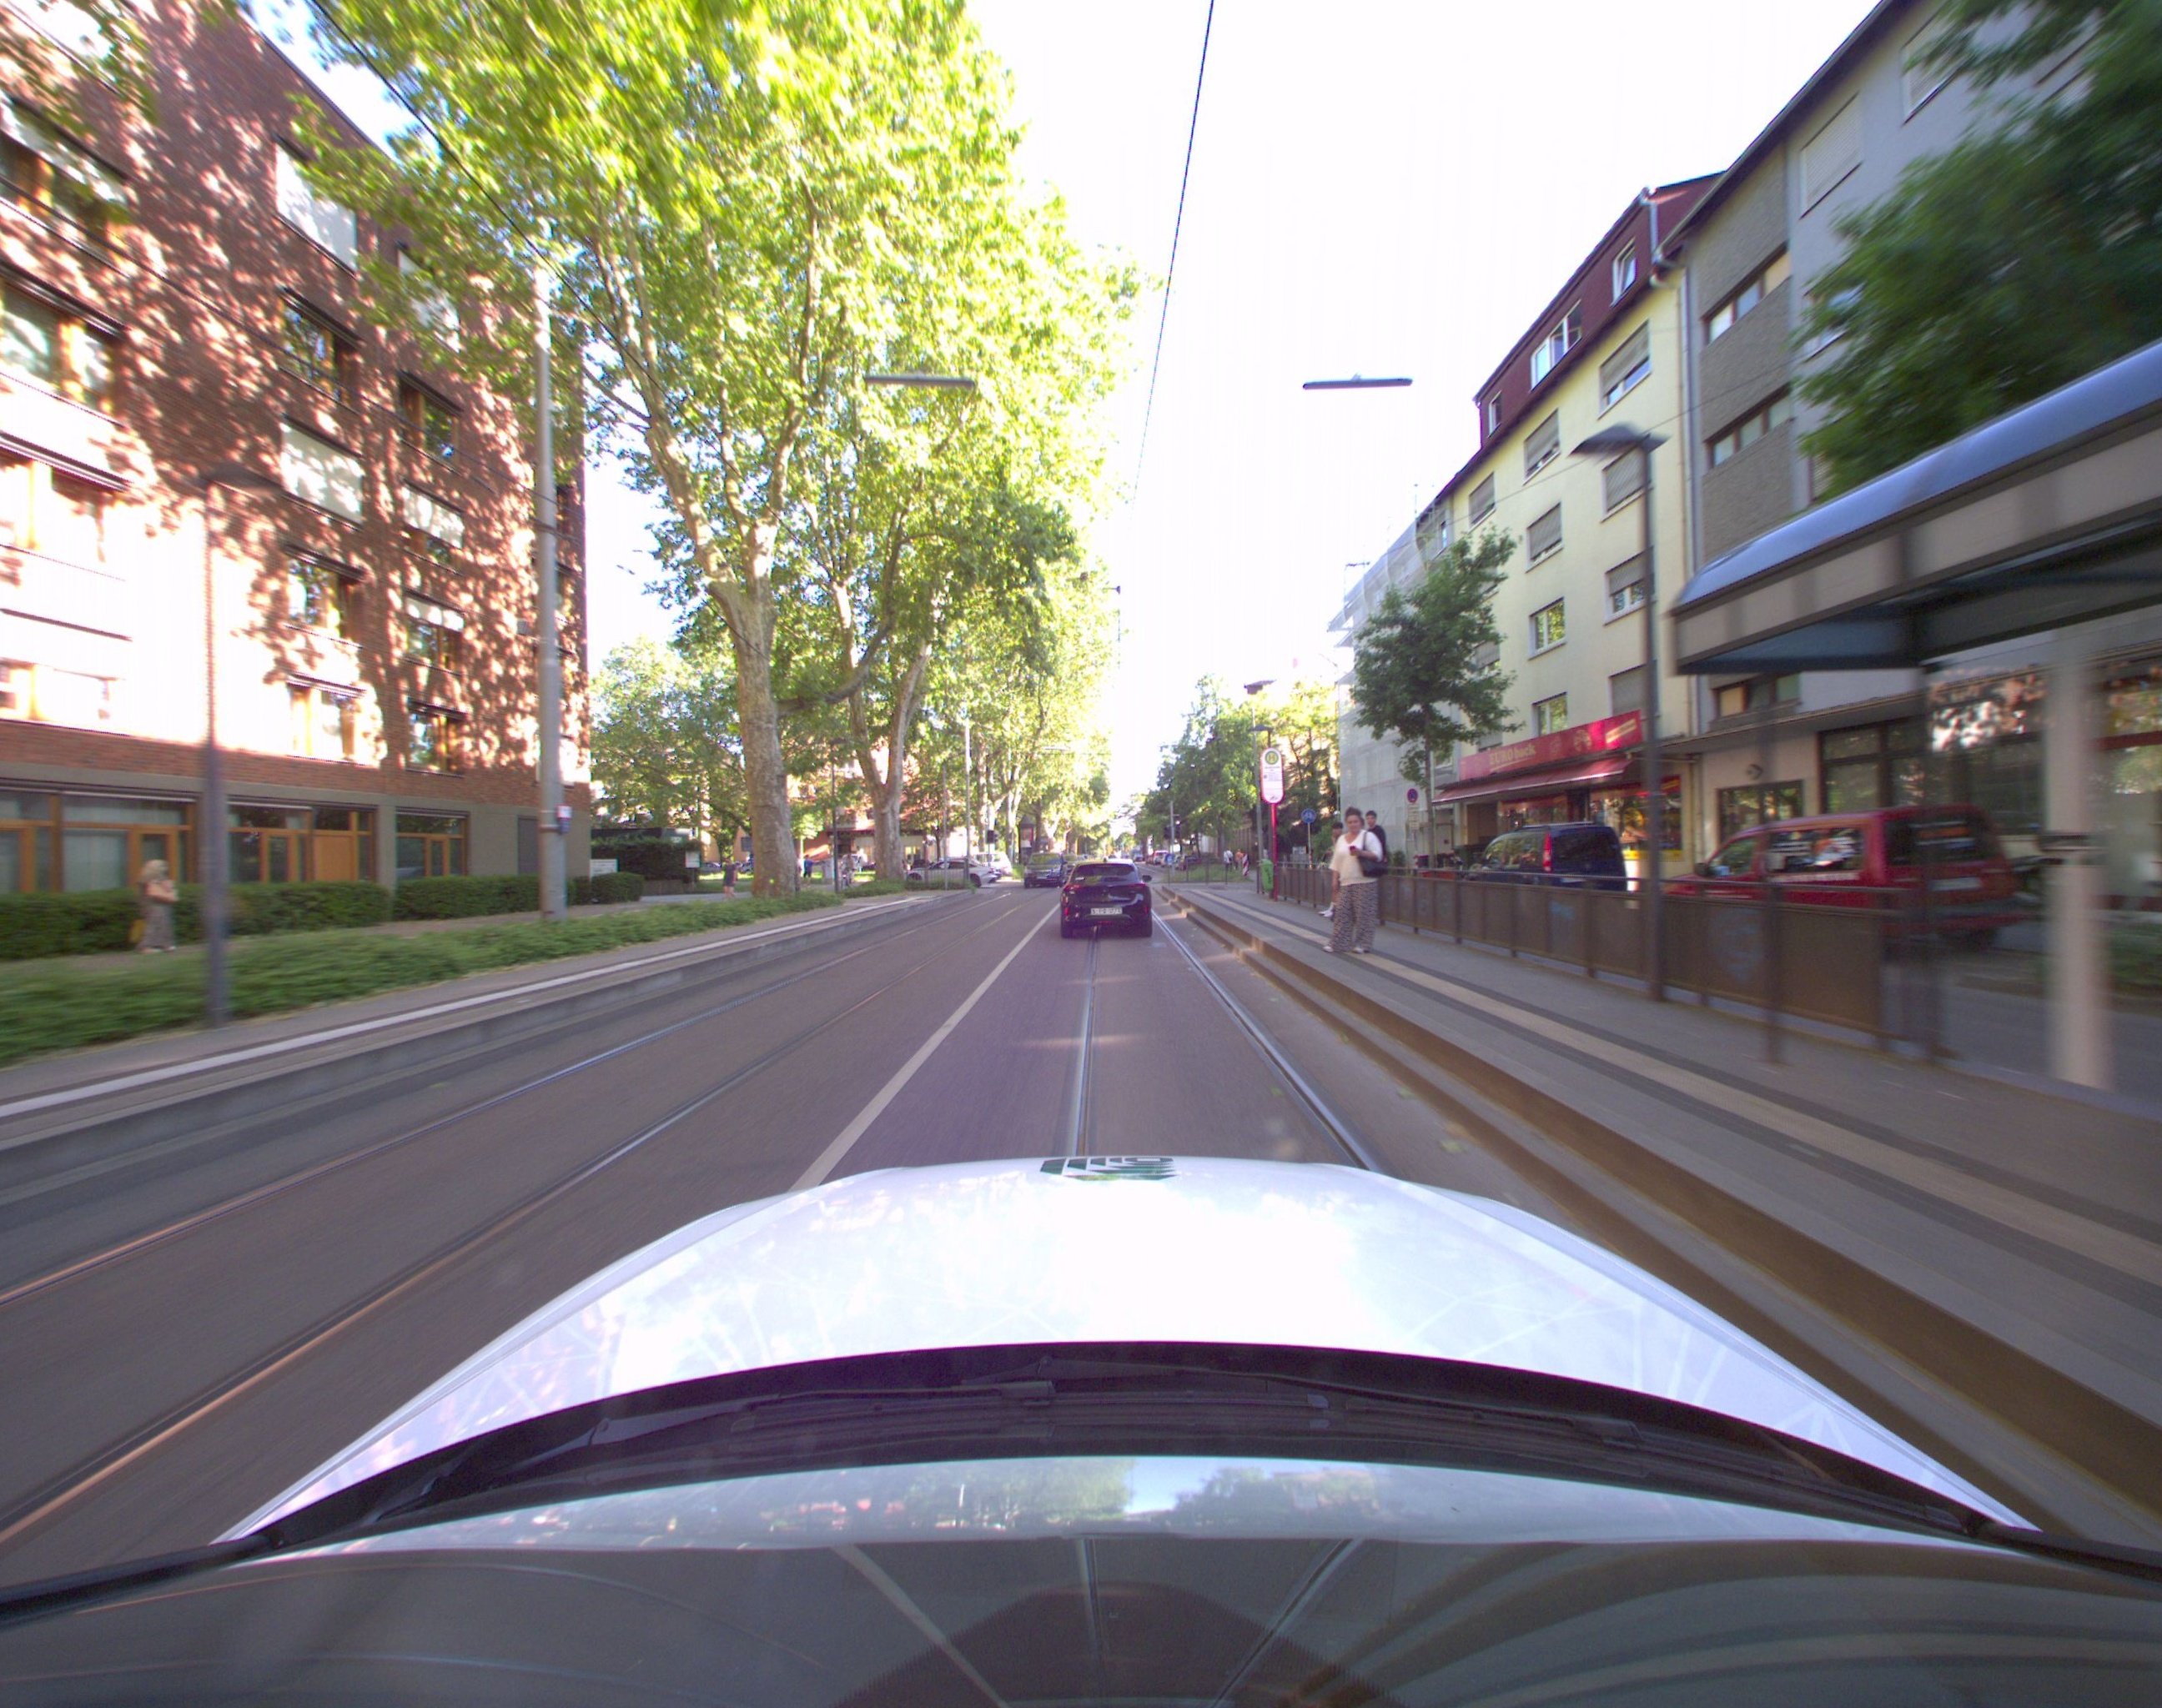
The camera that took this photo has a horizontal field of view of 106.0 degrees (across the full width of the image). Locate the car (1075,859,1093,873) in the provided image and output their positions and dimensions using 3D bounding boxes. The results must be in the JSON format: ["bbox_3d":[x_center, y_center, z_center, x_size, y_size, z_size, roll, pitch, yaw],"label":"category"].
[{"bbox_3d":[0.372,1.381,95.292,1.809,1.568,4.118,-3,0,2],"label":"car"}]

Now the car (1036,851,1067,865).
[{"bbox_3d":[-4.760,0.597,132.206,5.020,2.259,2.084,0,0,-2],"label":"car"}]

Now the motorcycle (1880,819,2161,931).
[{"bbox_3d":[13.210,0.236,11.596,0.949,1.316,2.650,-6,1,0],"label":"motorcycle"}]

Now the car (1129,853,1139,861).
[{"bbox_3d":[12.512,0.690,192.224,2.246,1.840,5.532,-2,0,1],"label":"car"}]

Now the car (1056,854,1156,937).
[{"bbox_3d":[0.498,0.750,16.370,1.757,1.460,3.952,0,0,2],"label":"car"}]

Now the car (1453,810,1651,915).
[{"bbox_3d":[10.079,0.162,17.887,1.985,1.896,4.198,-5,0,3],"label":"car"}]

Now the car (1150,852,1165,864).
[{"bbox_3d":[11.284,0.579,120.402,1.879,1.766,4.679,-2,0,2],"label":"car"}]

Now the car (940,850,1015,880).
[{"bbox_3d":[-6.629,0.696,52.482,4.556,1.834,1.938,0,-1,0],"label":"car"}]

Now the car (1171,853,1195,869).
[{"bbox_3d":[10.143,0.705,81.386,1.877,1.368,4.108,-4,0,1],"label":"car"}]

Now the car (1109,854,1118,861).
[{"bbox_3d":[8.993,0.903,224.691,2.246,1.840,5.532,-2,0,1],"label":"car"}]

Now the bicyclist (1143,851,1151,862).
[{"bbox_3d":[8.536,0.329,105.393,0.955,1.499,1.094,0,-1,0],"label":"bicyclist"}]

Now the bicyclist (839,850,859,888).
[{"bbox_3d":[-11.012,0.723,38.641,0.697,1.788,0.839,0,-1,3],"label":"bicyclist"}]

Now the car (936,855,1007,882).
[{"bbox_3d":[-6.709,0.885,50.218,4.126,1.646,1.902,0,0,0],"label":"car"}]

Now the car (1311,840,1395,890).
[{"bbox_3d":[9.902,0.371,30.003,1.755,1.621,4.445,-3,0,3],"label":"car"}]

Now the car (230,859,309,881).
[{"bbox_3d":[-63.535,1.215,63.848,1.881,1.618,4.113,0,0,7],"label":"car"}]

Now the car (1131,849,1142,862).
[{"bbox_3d":[12.230,0.273,178.463,2.077,2.772,4.699,-2,0,1],"label":"car"}]

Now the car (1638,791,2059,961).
[{"bbox_3d":[9.866,0.248,11.042,1.683,1.755,4.173,-4,0,0],"label":"car"}]

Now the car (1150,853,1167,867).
[{"bbox_3d":[10.586,0.803,111.278,1.877,1.851,4.969,-4,0,1],"label":"car"}]

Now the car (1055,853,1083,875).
[{"bbox_3d":[-0.927,0.790,65.143,1.901,1.638,4.322,-2,0,2],"label":"car"}]

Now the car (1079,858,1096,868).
[{"bbox_3d":[0.925,1.228,113.918,1.662,1.444,3.458,0,0,-13],"label":"car"}]

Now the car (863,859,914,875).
[{"bbox_3d":[-18.365,1.269,77.786,4.519,1.489,1.857,0,0,-5],"label":"car"}]

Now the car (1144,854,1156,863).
[{"bbox_3d":[11.461,0.747,135.238,1.696,1.423,3.979,-5,0,1],"label":"car"}]

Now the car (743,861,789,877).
[{"bbox_3d":[-29.668,1.389,76.836,3.700,1.450,1.686,0,0,-4],"label":"car"}]

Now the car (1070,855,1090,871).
[{"bbox_3d":[-0.079,0.851,78.495,1.768,1.461,4.206,0,0,2],"label":"car"}]

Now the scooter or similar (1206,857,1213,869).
[{"bbox_3d":[13.876,0.947,87.719,0.573,1.246,1.336,0,-1,3],"label":"scooter or similar"}]

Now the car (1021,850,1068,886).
[{"bbox_3d":[-1.774,0.664,41.374,1.986,1.716,5.144,0,0,1],"label":"car"}]

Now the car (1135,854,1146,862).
[{"bbox_3d":[11.723,0.823,161.160,1.877,1.434,4.531,-4,0,1],"label":"car"}]

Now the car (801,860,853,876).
[{"bbox_3d":[-24.006,1.319,77.095,4.463,1.450,1.820,0,0,-7],"label":"car"}]

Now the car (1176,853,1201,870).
[{"bbox_3d":[9.858,0.714,74.867,1.667,1.412,3.842,-4,0,0],"label":"car"}]

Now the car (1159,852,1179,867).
[{"bbox_3d":[10.342,0.663,95.746,1.877,1.568,4.243,-4,0,1],"label":"car"}]

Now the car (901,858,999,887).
[{"bbox_3d":[-6.643,0.935,41.816,4.753,1.460,1.953,0,0,-3],"label":"car"}]
